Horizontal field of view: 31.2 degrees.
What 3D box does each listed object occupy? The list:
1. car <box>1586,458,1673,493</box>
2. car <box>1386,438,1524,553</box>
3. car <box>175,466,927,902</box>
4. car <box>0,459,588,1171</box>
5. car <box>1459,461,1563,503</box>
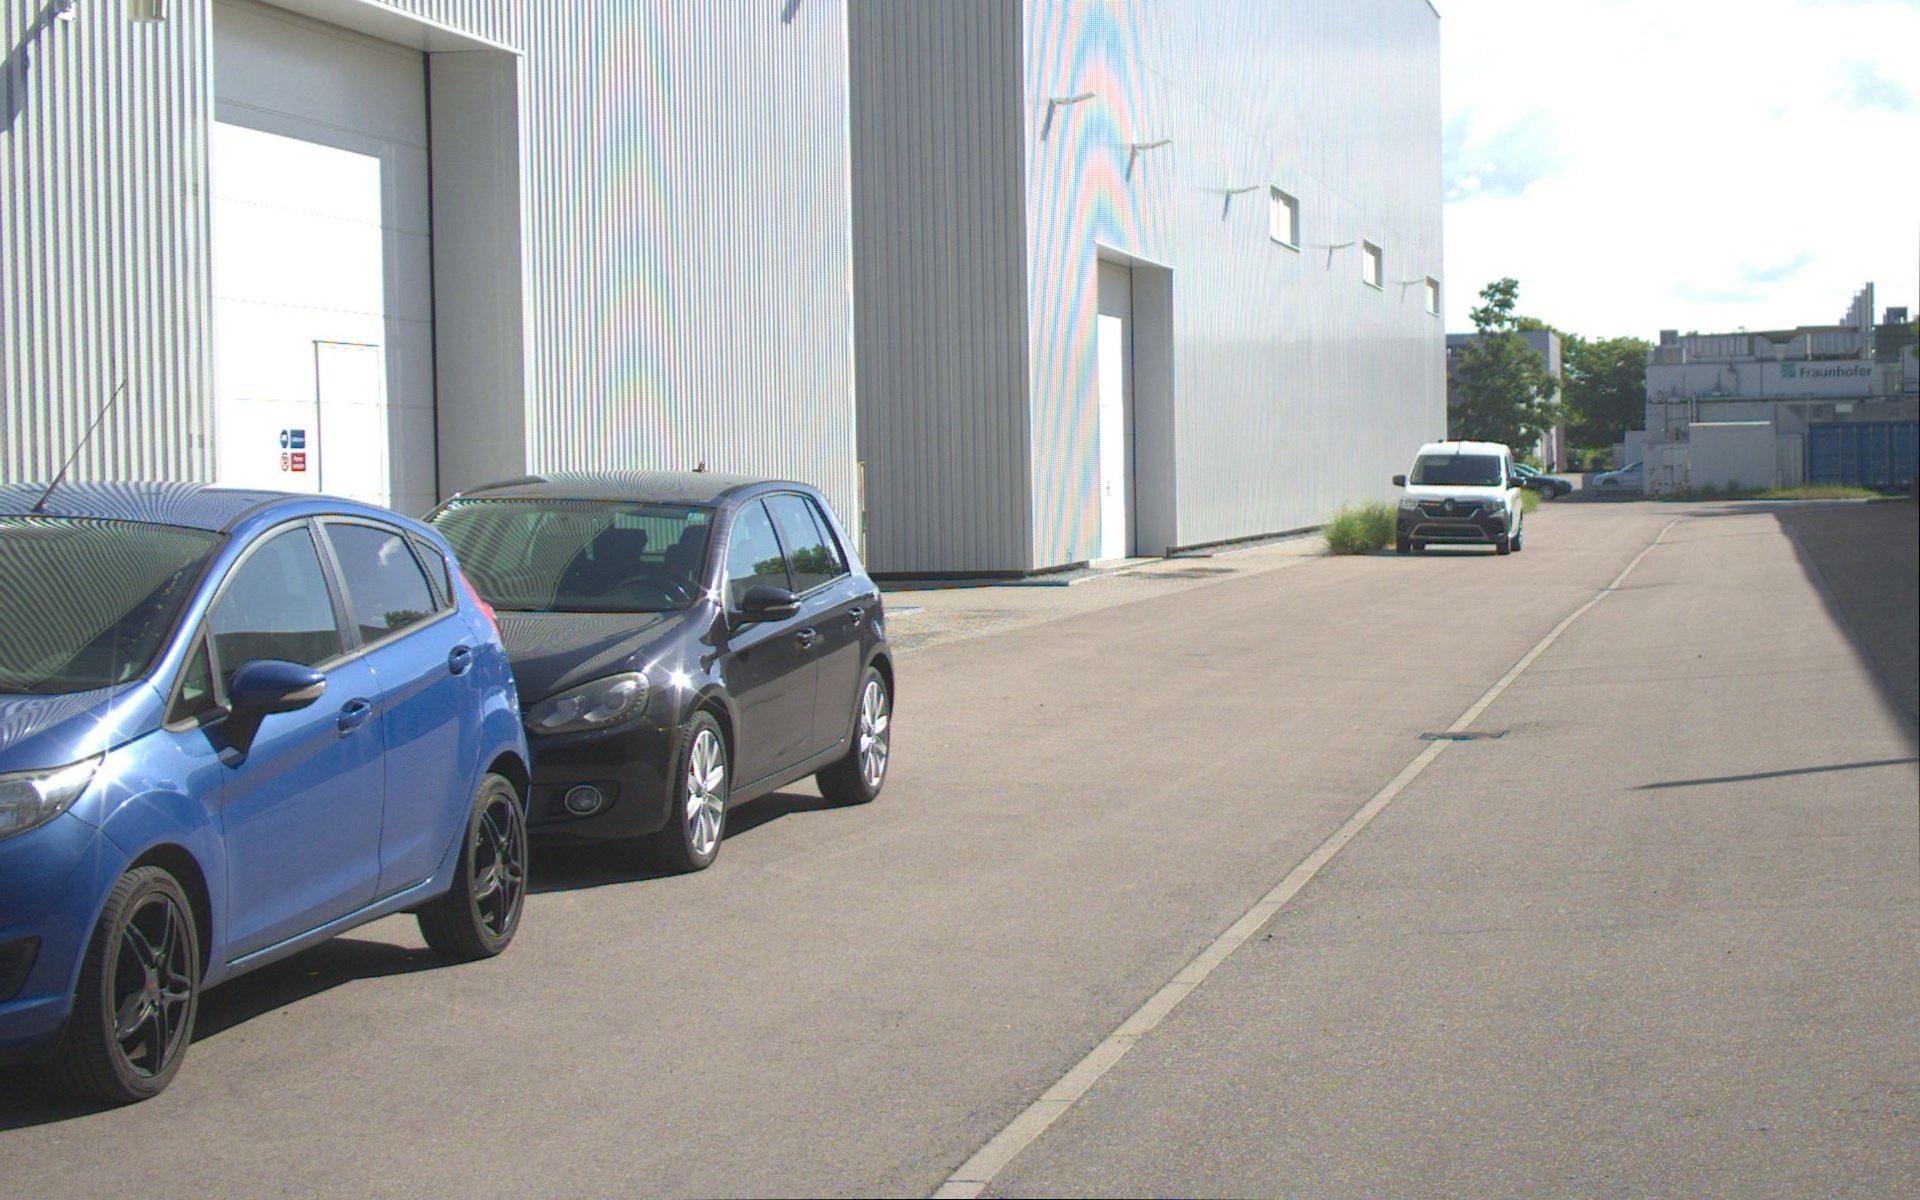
[{"bbox_3d":[31.818,-5.911,163.322,3.989,1.592,1.847,1,0,12],"label":"car"},{"bbox_3d":[8.091,-1.737,55.932,1.820,1.781,4.403,1,3,13],"label":"car"},{"bbox_3d":[-1.500,0.207,14.311,1.755,1.495,4.292,1,3,13],"label":"car"},{"bbox_3d":[-2.451,0.379,9.512,1.631,1.495,4.093,2,3,11],"label":"car"},{"bbox_3d":[21.966,-4.704,137.039,3.989,1.592,1.741,1,0,12],"label":"car"}]
